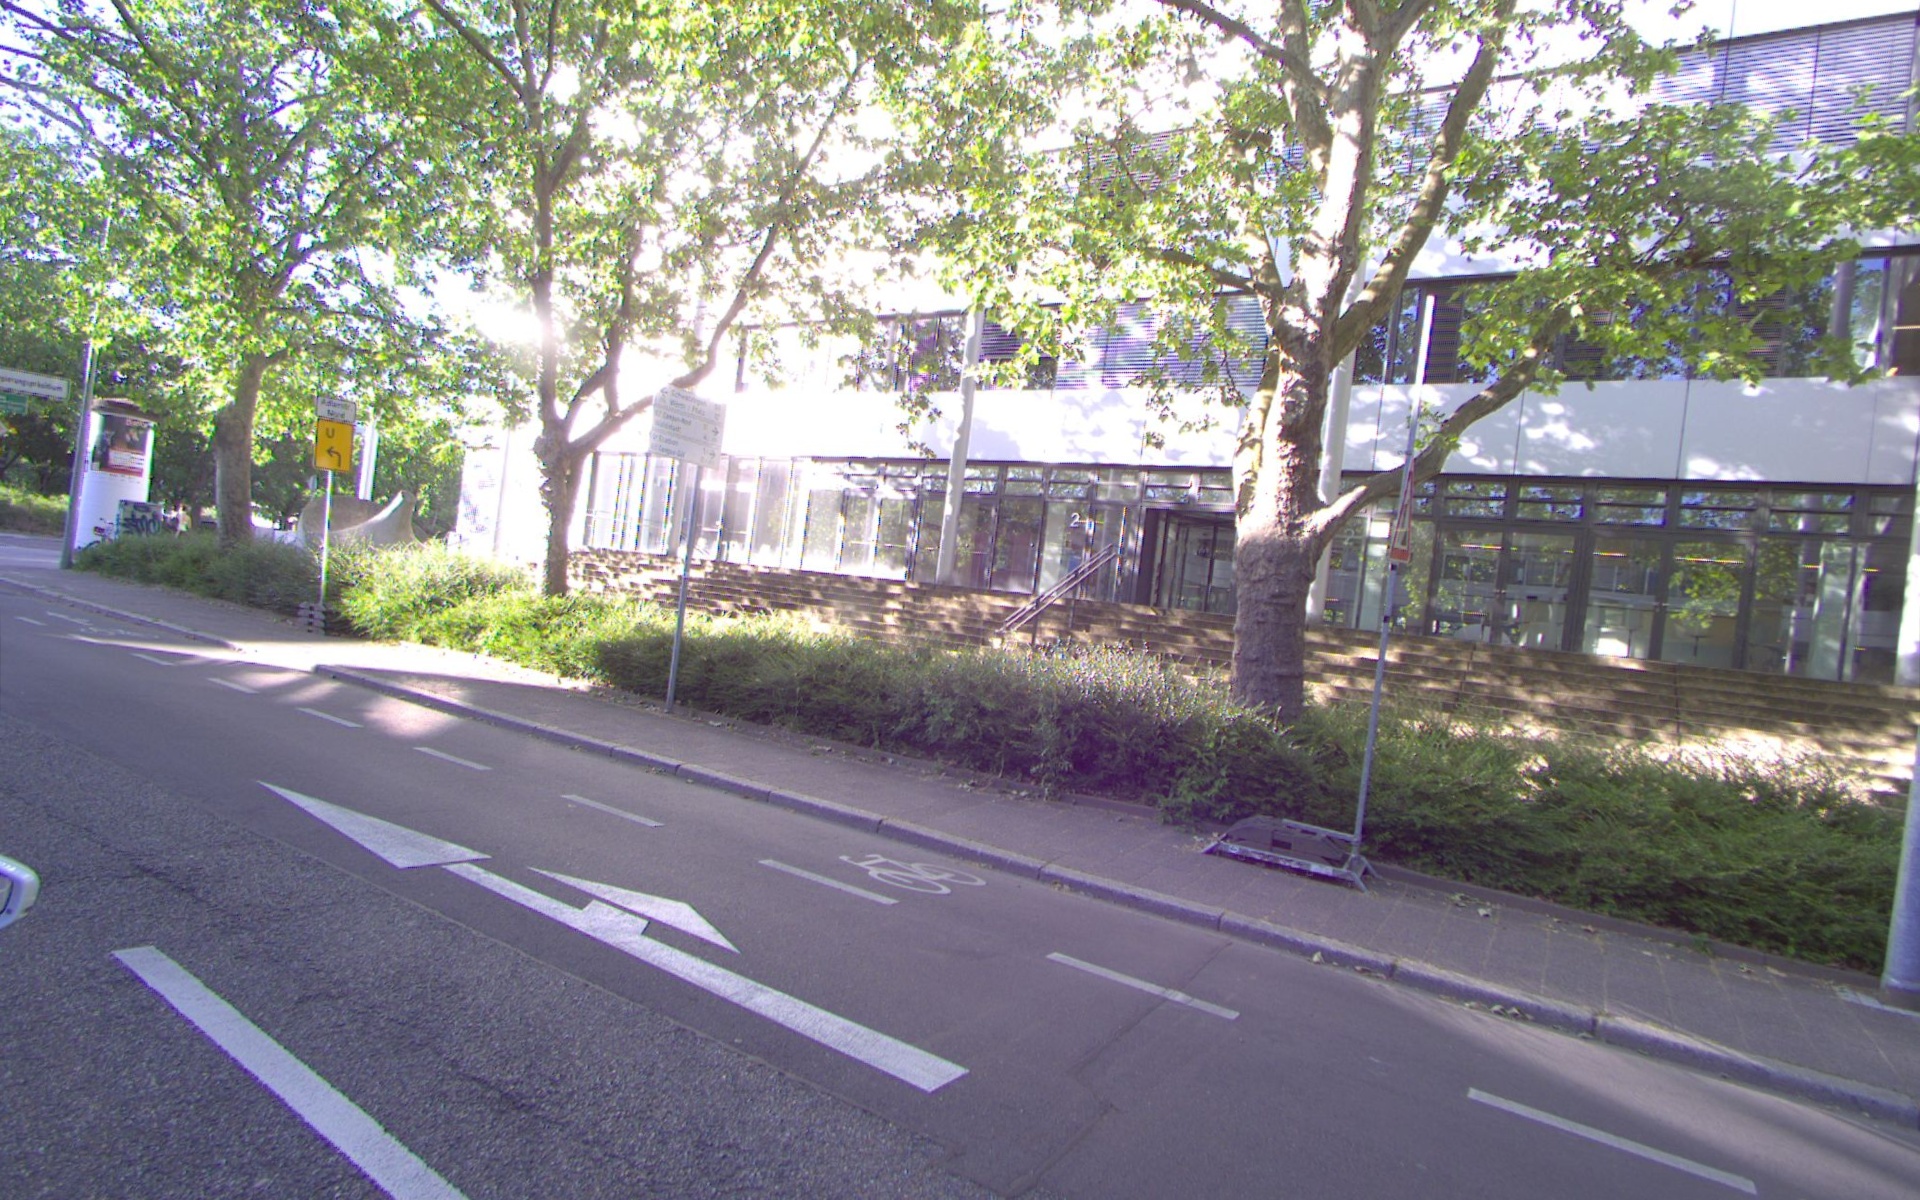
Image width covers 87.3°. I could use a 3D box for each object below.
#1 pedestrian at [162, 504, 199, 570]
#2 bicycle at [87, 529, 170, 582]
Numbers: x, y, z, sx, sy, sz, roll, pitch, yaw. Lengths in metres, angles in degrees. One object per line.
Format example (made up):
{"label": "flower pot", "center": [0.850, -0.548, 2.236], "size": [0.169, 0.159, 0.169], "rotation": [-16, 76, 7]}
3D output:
{"label": "pedestrian", "center": [-23.481, -1.899, 30.318], "size": [0.584, 1.871, 0.552], "rotation": [7, 0, 33]}
{"label": "bicycle", "center": [-19.163, -1.006, 23.213], "size": [0.357, 1.036, 1.354], "rotation": [7, -1, 33]}
